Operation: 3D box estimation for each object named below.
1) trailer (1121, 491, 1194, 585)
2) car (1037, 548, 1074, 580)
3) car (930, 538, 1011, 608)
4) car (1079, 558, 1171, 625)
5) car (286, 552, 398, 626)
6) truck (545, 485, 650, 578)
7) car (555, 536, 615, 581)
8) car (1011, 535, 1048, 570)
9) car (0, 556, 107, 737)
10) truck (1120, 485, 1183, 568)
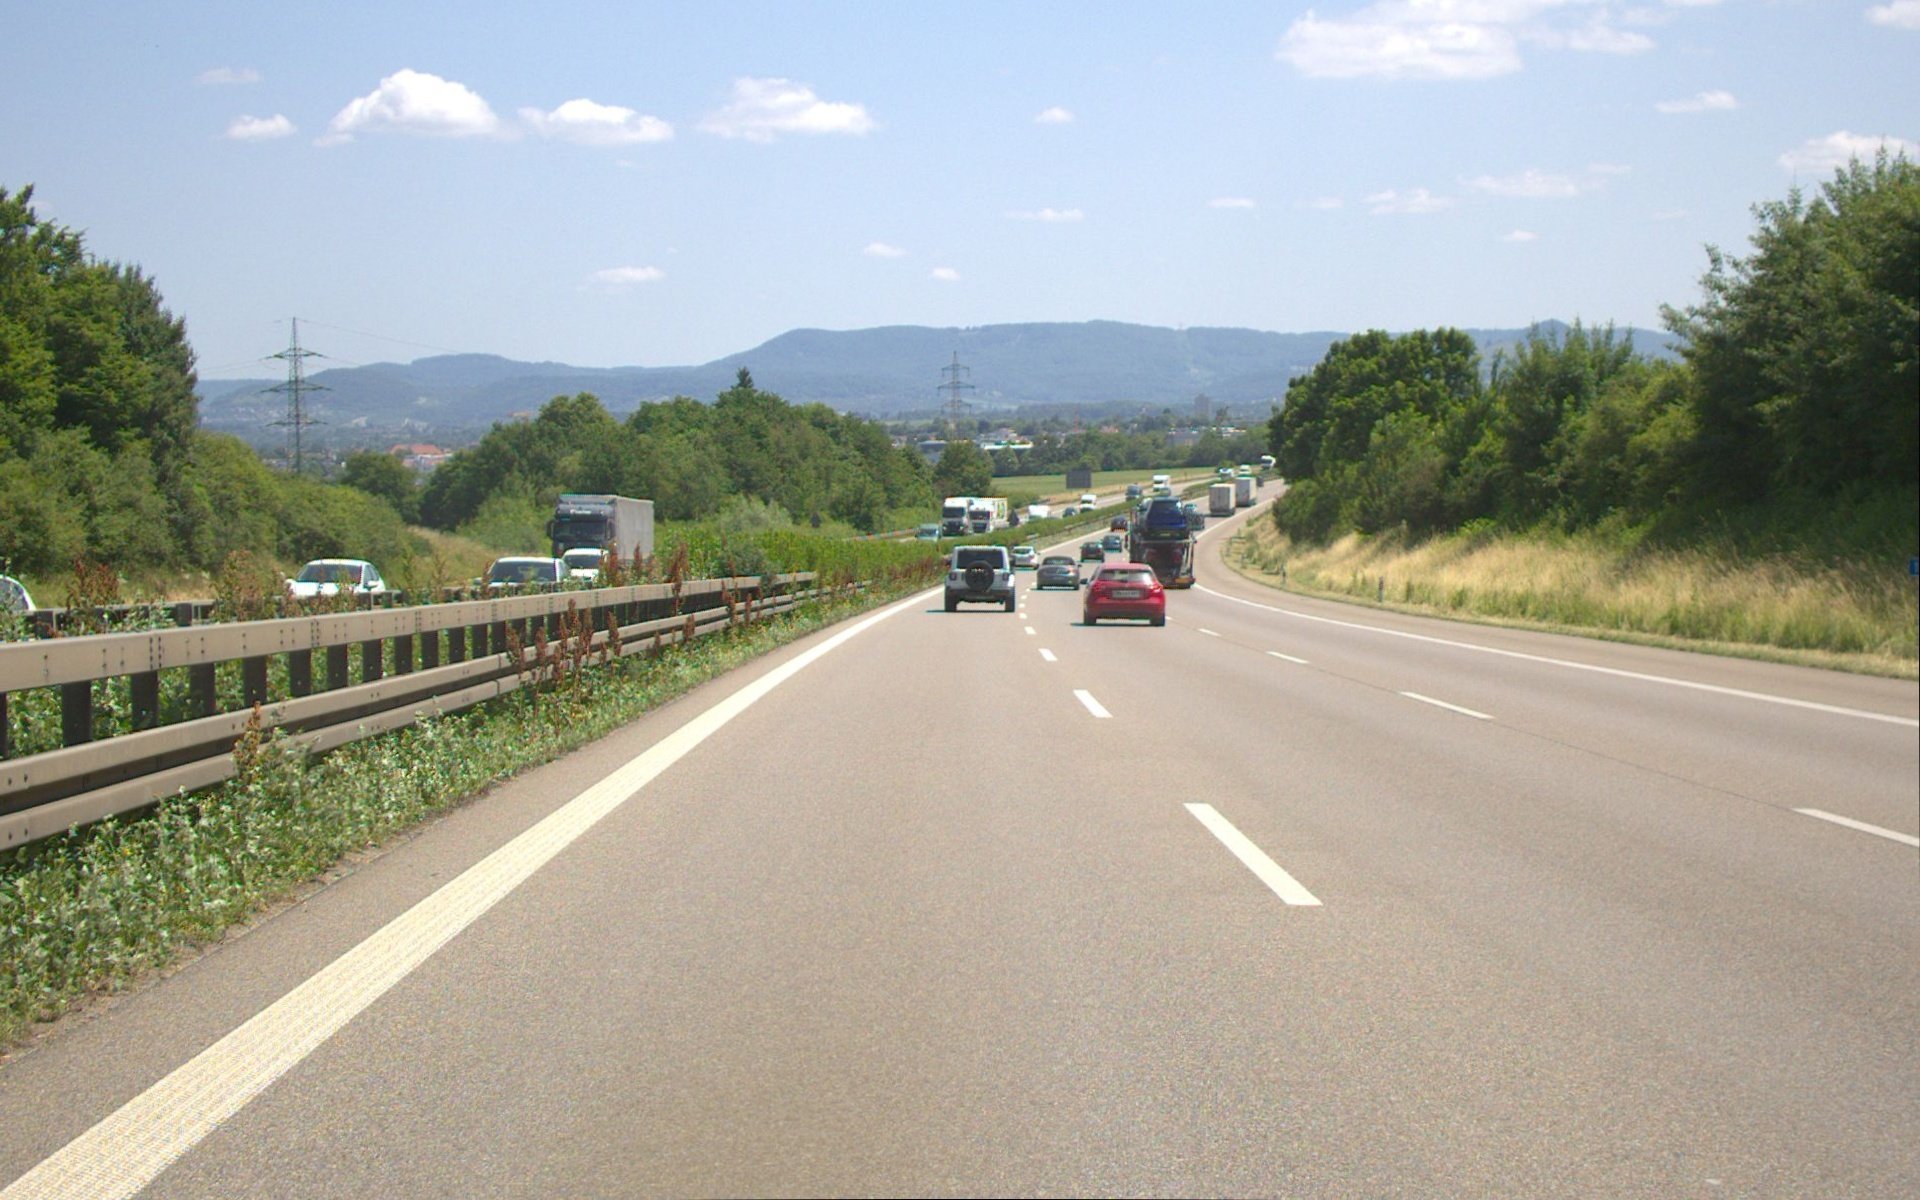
[{"bbox_3d":[8.899,-2.921,156.436,2.855,3.979,15.397,1,2,2],"label":"trailer"},{"bbox_3d":[4.036,-1.517,145.148,1.452,1.263,3.539,1,2,0],"label":"car"},{"bbox_3d":[0.259,-0.778,96.013,2.083,1.823,4.754,0,2,-2],"label":"car"},{"bbox_3d":[3.738,-0.215,78.579,1.685,1.374,3.949,0,2,-3],"label":"car"},{"bbox_3d":[-12.850,-0.249,71.681,1.581,1.457,4.357,1,1,0],"label":"car"},{"bbox_3d":[-16.487,-3.134,157.449,2.975,4.000,16.829,1,1,0],"label":"truck"},{"bbox_3d":[-12.857,-1.422,118.030,1.499,1.508,4.869,1,0,0],"label":"car"},{"bbox_3d":[4.222,-2.874,208.639,1.698,2.006,3.821,1,2,9],"label":"car"},{"bbox_3d":[-9.185,0.380,31.808,1.624,1.484,3.860,1,2,0],"label":"car"},{"bbox_3d":[9.102,-3.542,164.108,2.754,3.839,6.644,1,2,1],"label":"truck"}]
